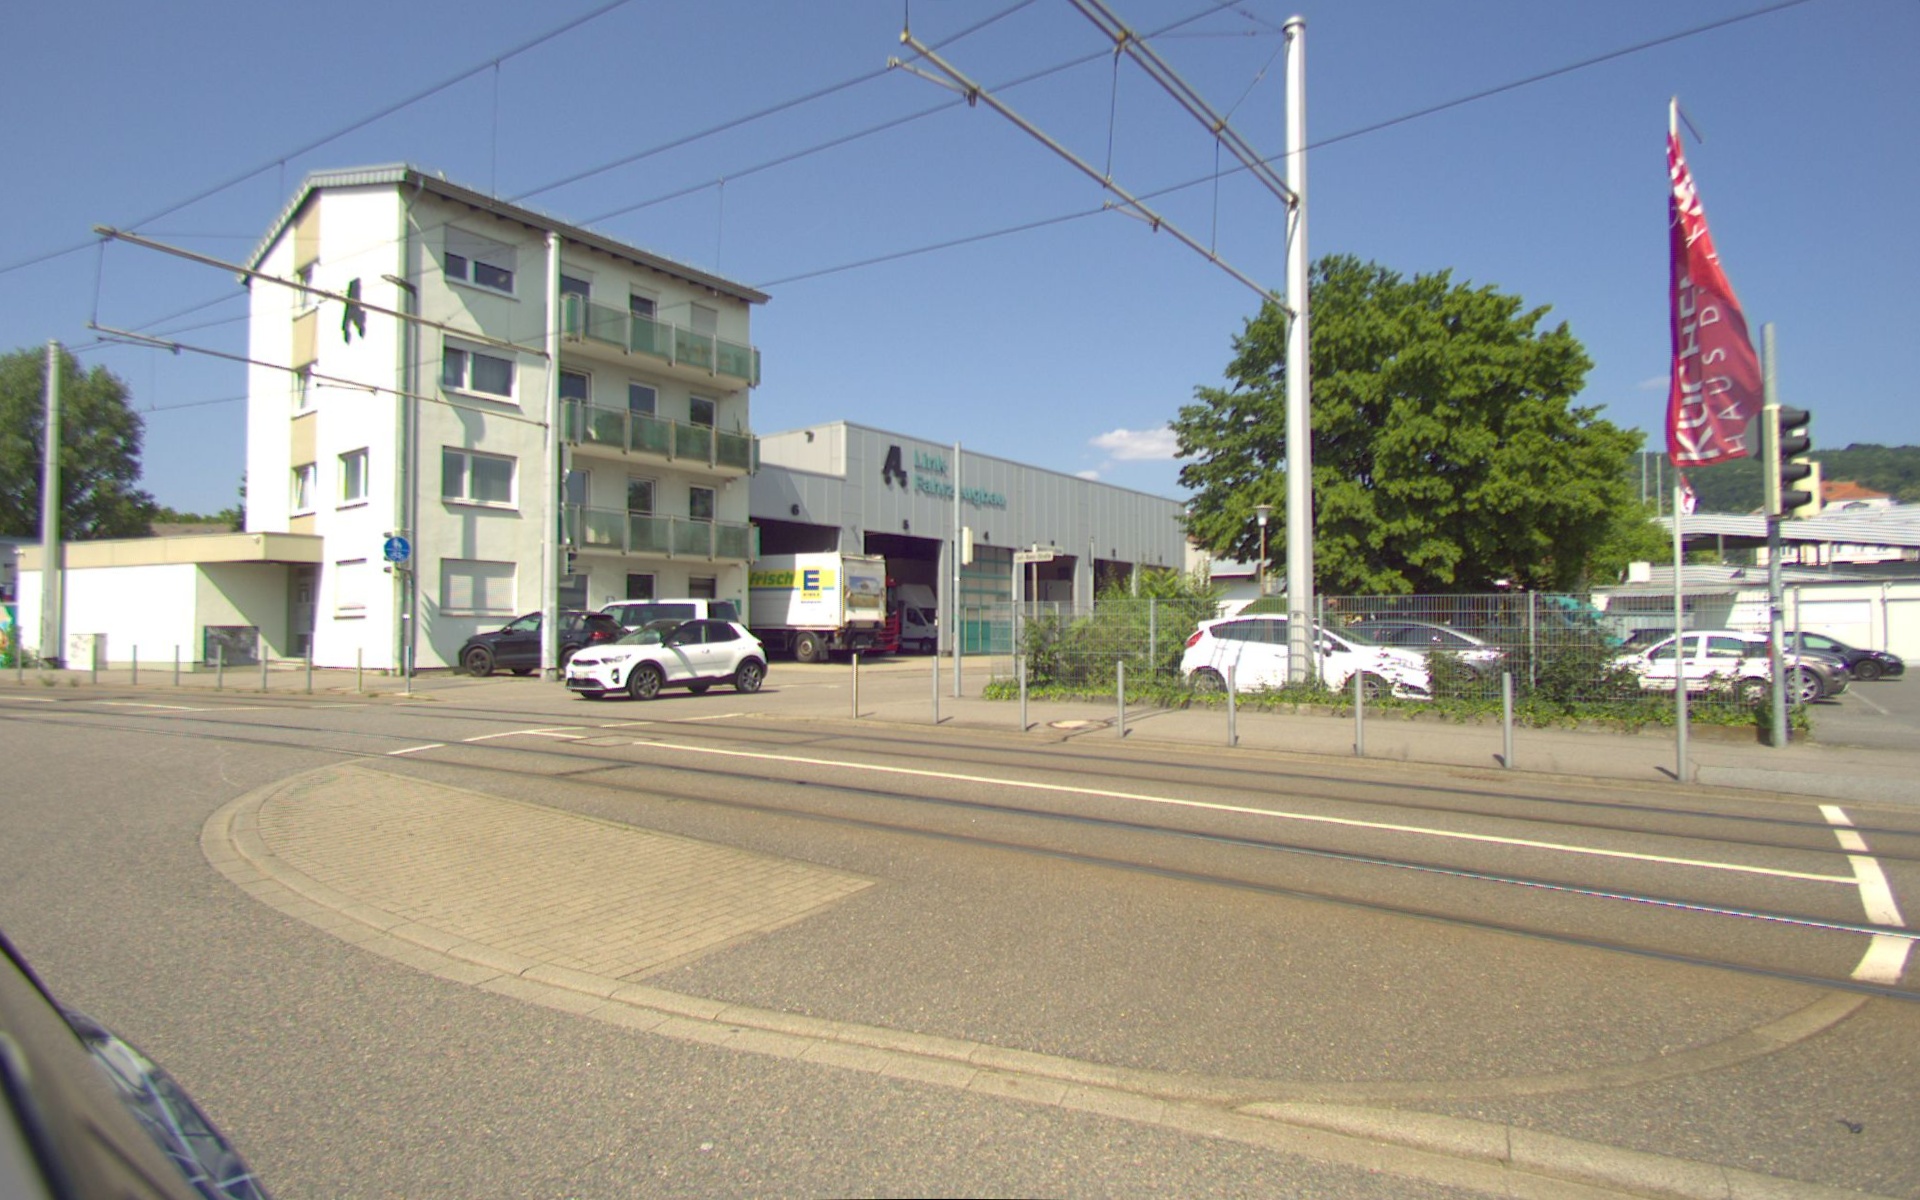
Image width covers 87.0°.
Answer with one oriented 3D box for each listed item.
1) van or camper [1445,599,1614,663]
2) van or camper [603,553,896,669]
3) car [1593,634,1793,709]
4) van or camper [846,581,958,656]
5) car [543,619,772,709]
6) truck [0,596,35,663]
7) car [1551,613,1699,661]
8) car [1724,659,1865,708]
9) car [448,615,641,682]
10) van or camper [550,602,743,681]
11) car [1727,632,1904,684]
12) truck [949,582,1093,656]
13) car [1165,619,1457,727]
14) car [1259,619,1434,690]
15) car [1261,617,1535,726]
[{"bbox_3d":[19.343,1.070,34.549,1.970,2.023,4.648,2,-3,-43],"label":"van or camper"},{"bbox_3d":[-7.857,0.374,36.533,11.598,3.721,2.751,0,-2,32],"label":"van or camper"},{"bbox_3d":[15.777,1.477,21.863,3.387,1.496,1.497,-2,-3,40],"label":"car"},{"bbox_3d":[-2.691,0.904,46.286,5.049,3.230,1.975,-2,-3,37],"label":"van or camper"},{"bbox_3d":[-5.714,1.171,19.563,1.733,1.542,4.061,-1,-2,34],"label":"car"},{"bbox_3d":[-39.630,1.154,39.426,2.177,2.646,4.792,-1,-2,25],"label":"truck"},{"bbox_3d":[23.008,1.262,35.086,4.000,1.567,1.972,-2,-3,43],"label":"car"},{"bbox_3d":[18.281,1.808,22.268,2.314,0.953,1.273,-1,-2,38],"label":"car"},{"bbox_3d":[-9.925,1.145,24.283,3.935,1.533,1.872,0,-2,14],"label":"car"},{"bbox_3d":[-8.188,1.057,26.509,4.519,1.922,1.988,0,-2,18],"label":"van or camper"},{"bbox_3d":[26.648,1.762,31.611,1.970,1.523,4.004,2,-3,-43],"label":"car"},{"bbox_3d":[3.246,1.074,55.508,7.853,3.810,2.590,-1,-3,39],"label":"truck"},{"bbox_3d":[5.342,1.031,15.675,3.952,1.444,1.690,-1,-1,40],"label":"car"},{"bbox_3d":[10.156,1.467,26.700,3.832,1.605,1.833,-7,-5,39],"label":"car"},{"bbox_3d":[7.357,1.217,17.265,1.742,1.634,3.841,1,-4,-42],"label":"car"}]
